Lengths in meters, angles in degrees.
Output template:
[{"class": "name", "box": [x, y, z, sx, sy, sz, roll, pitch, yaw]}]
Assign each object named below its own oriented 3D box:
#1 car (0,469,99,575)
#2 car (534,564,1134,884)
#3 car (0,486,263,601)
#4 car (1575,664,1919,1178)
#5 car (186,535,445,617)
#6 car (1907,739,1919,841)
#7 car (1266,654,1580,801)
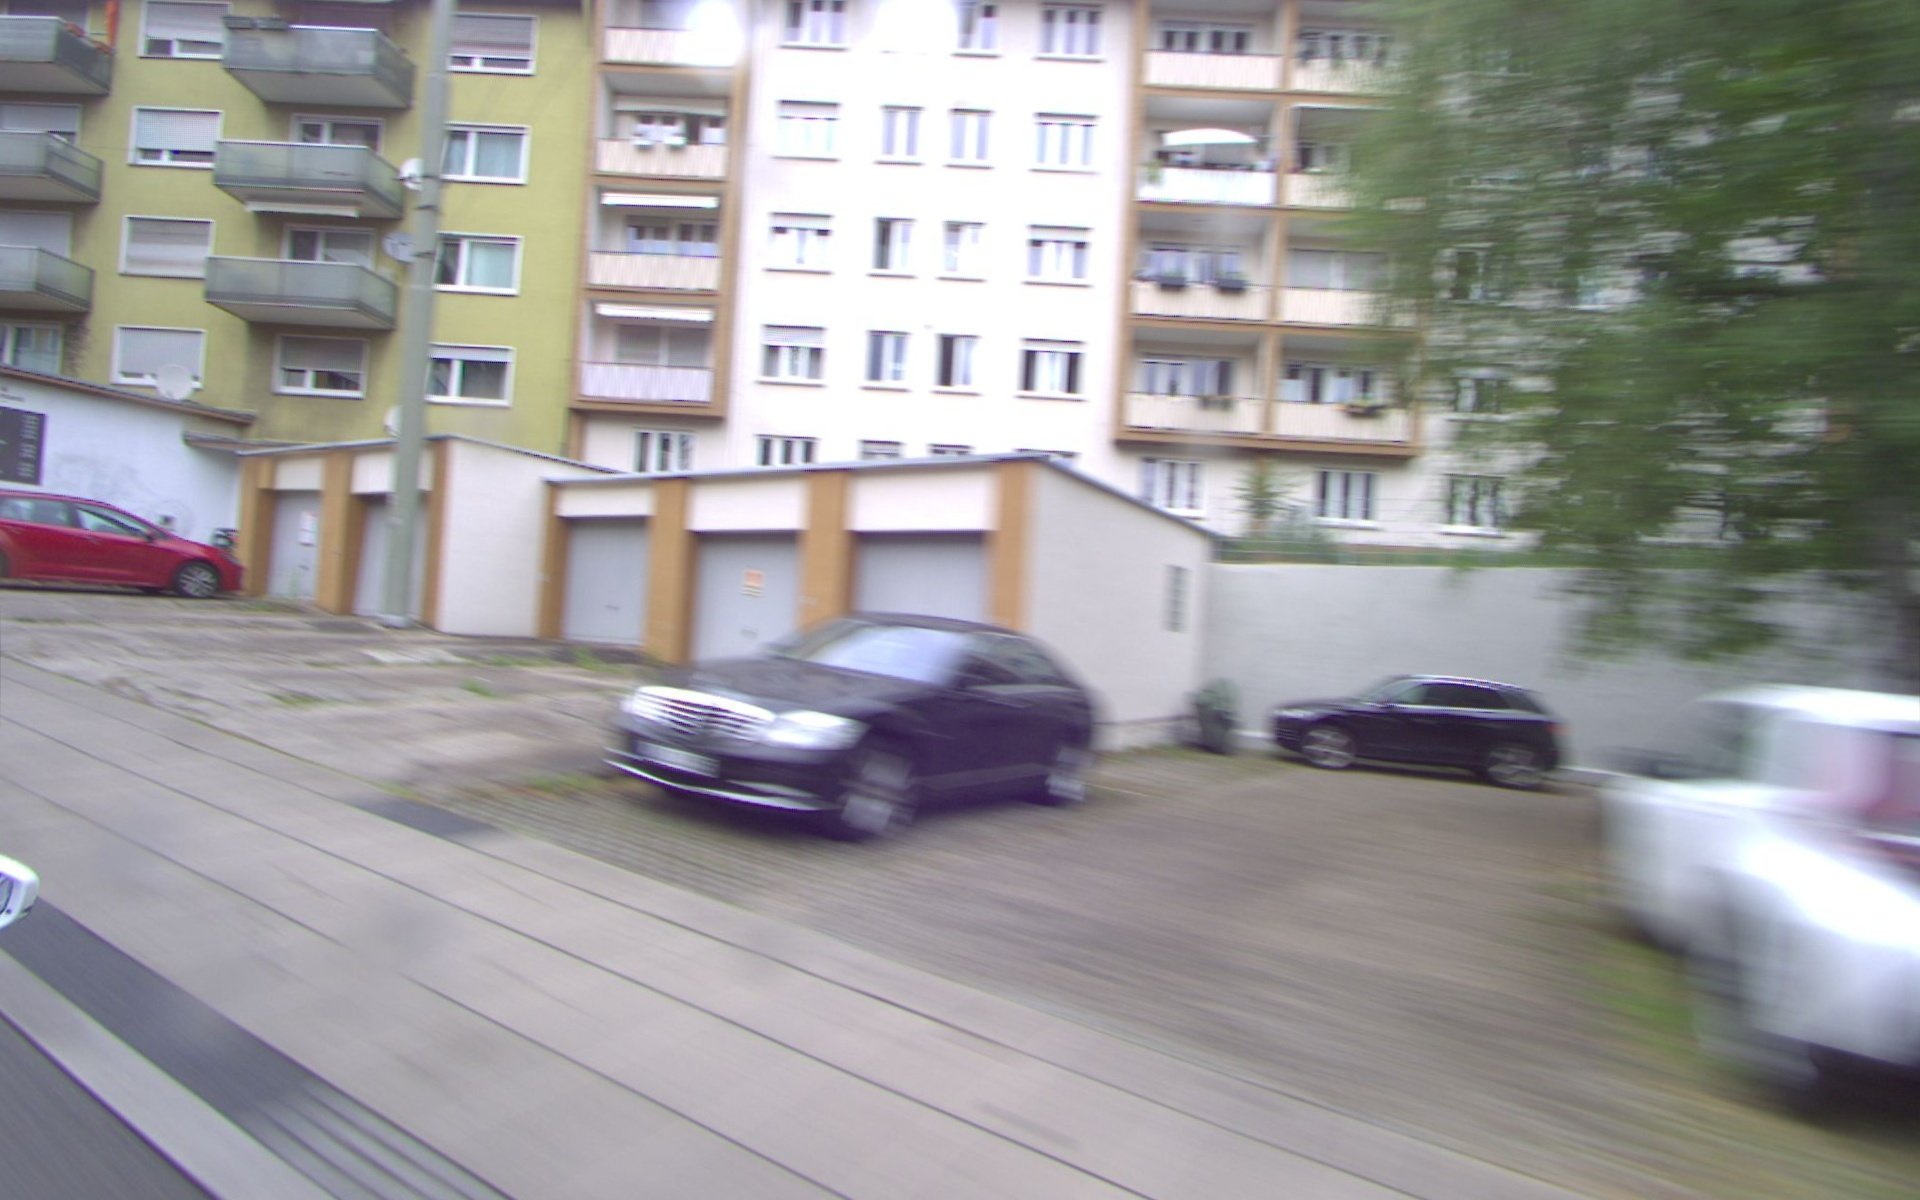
[{"class": "car", "box": [-17.362, -1.493, 16.654, 1.751, 1.695, 4.331, 7, 1, 32]}, {"class": "car", "box": [-0.511, 0.893, 7.940, 1.941, 1.453, 4.943, 10, -1, 30]}, {"class": "car", "box": [-13.769, -0.909, 15.542, 1.735, 1.456, 4.575, 7, 1, 29]}, {"class": "car", "box": [4.222, 1.226, 4.600, 1.784, 1.483, 4.000, 8, -2, 25]}, {"class": "car", "box": [-14.151, -0.475, 22.388, 1.751, 1.418, 4.516, 4, -1, 31]}, {"class": "car", "box": [14.481, 2.637, 12.165, 3.925, 1.529, 1.691, 8, -1, 18]}, {"class": "car", "box": [7.512, 2.043, 16.779, 4.339, 1.622, 1.752, 8, -1, 13]}]
